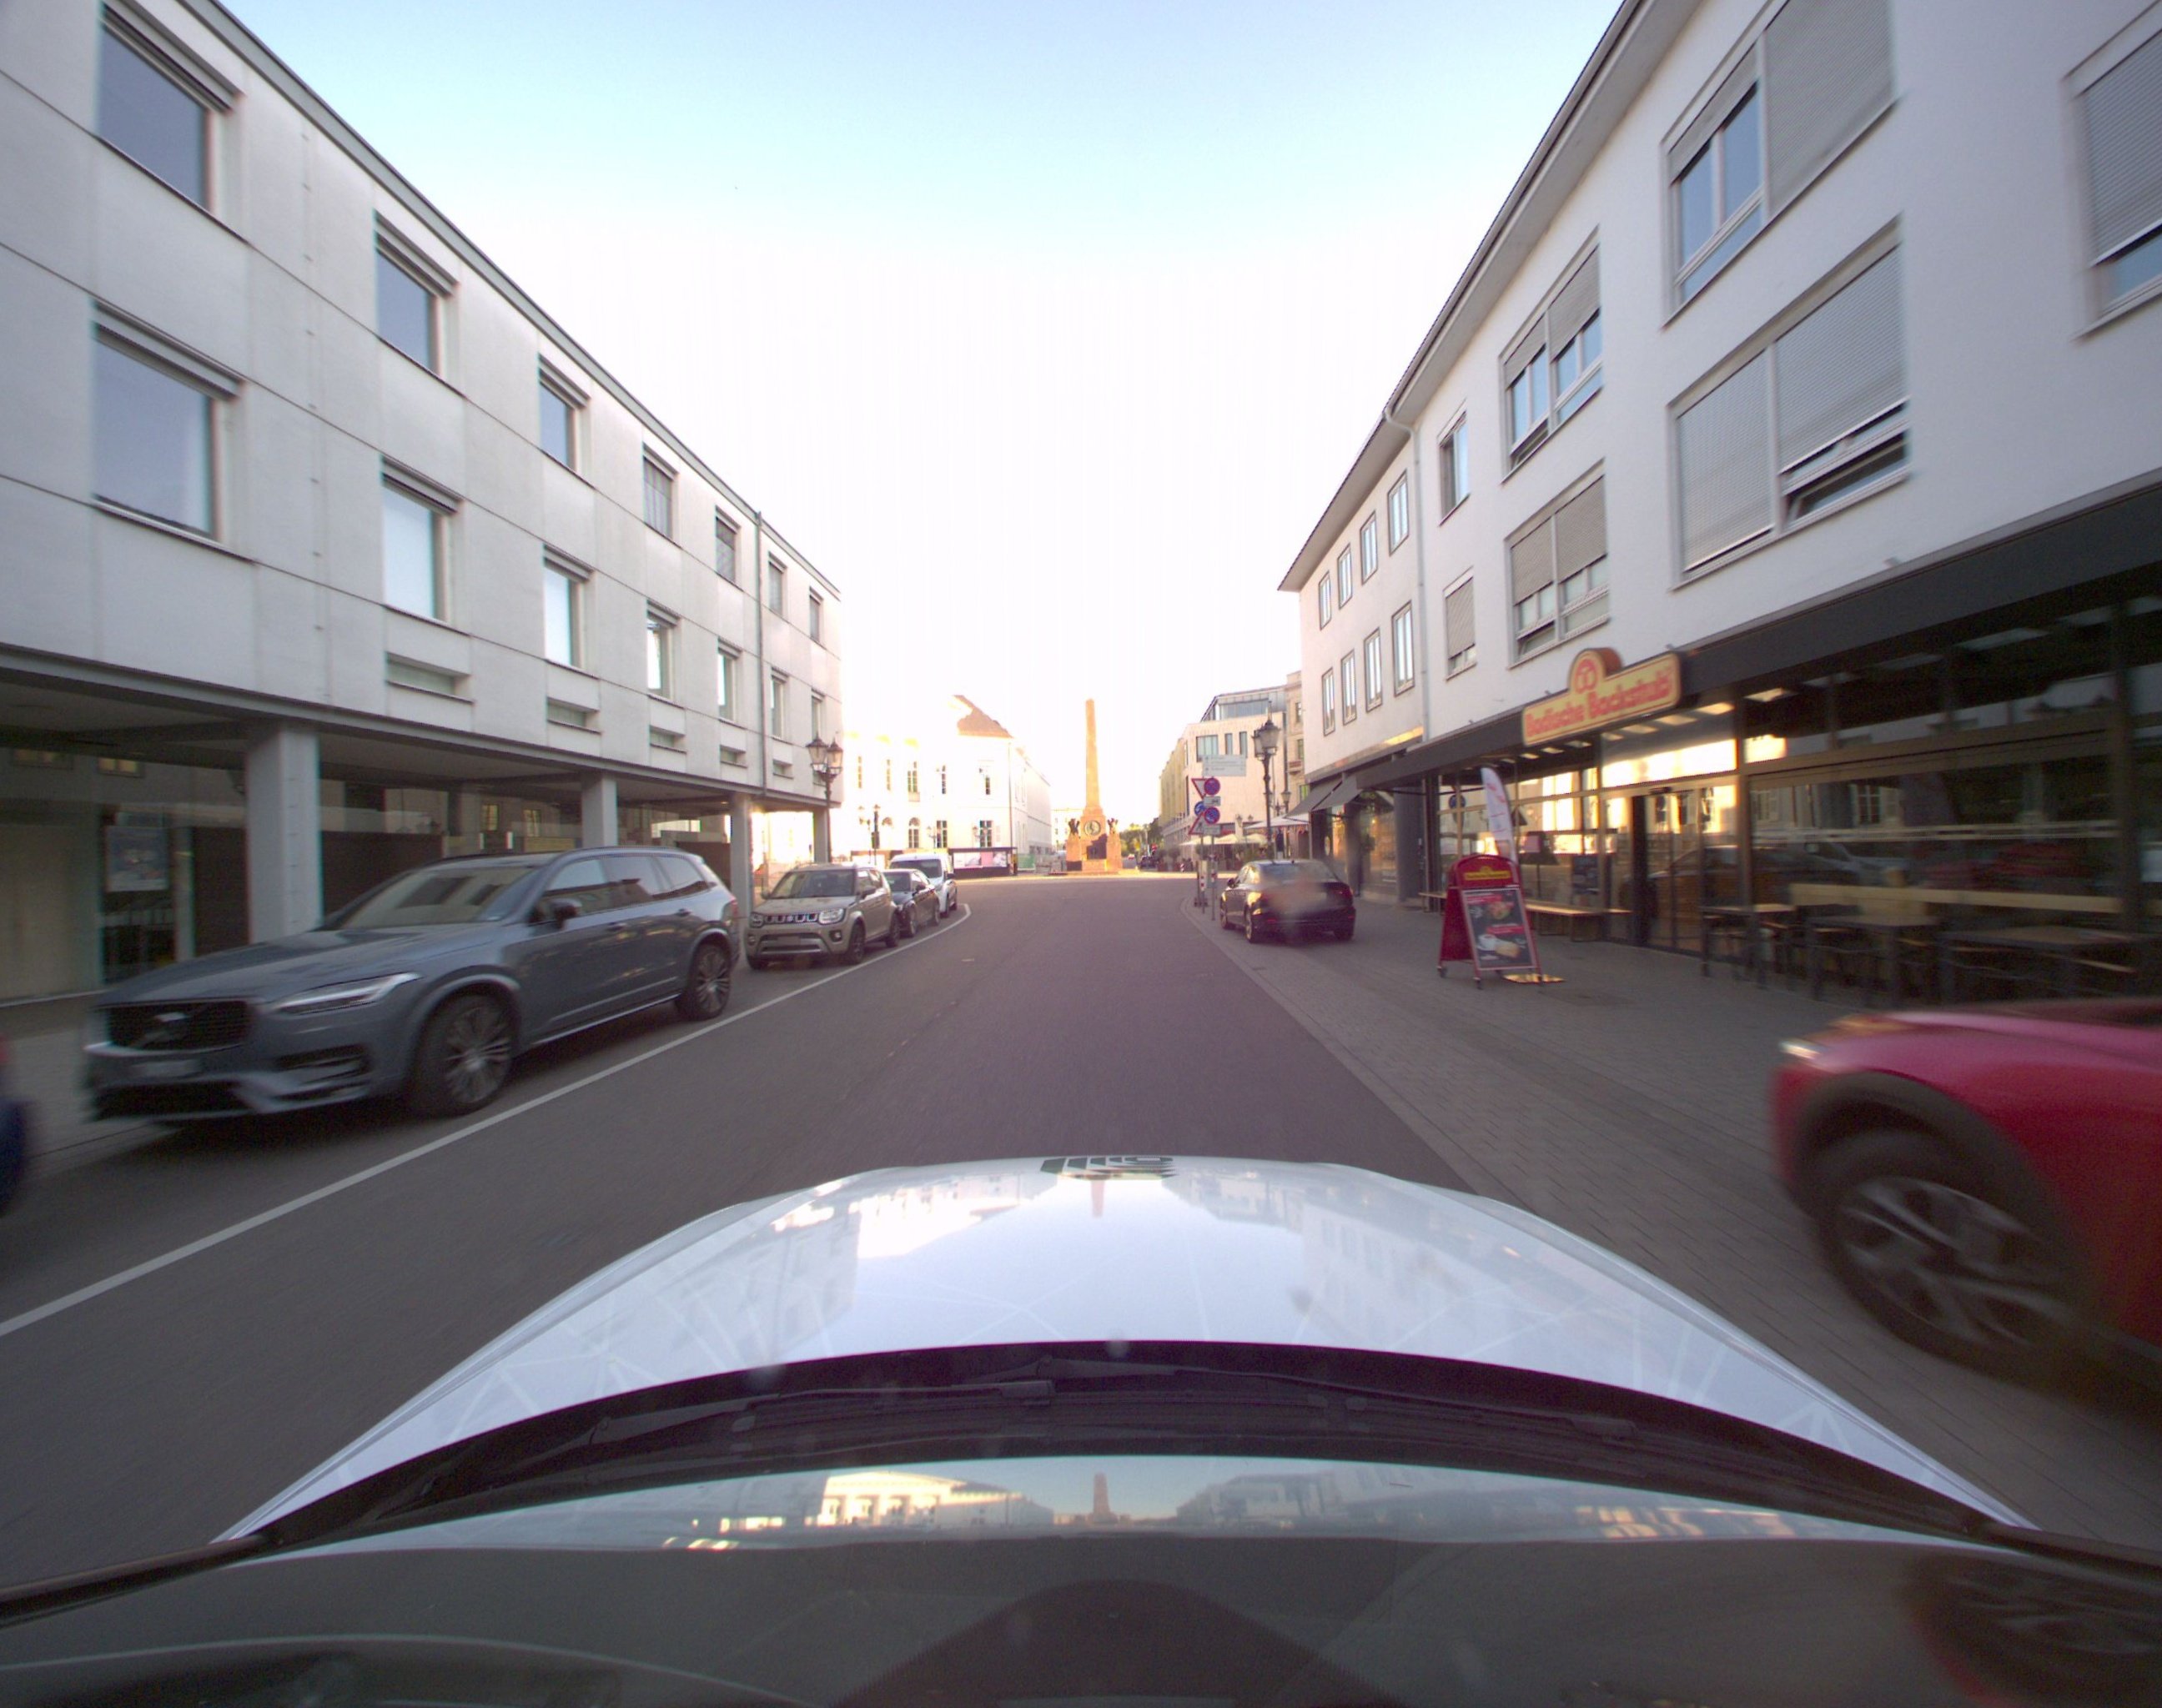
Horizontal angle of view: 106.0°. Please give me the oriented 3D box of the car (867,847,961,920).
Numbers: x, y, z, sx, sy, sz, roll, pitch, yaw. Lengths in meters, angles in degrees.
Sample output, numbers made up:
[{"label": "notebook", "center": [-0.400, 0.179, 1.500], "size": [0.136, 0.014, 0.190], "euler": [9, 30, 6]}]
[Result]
[{"label": "car", "center": [-4.612, 0.752, 23.200], "size": [1.990, 1.816, 4.777], "euler": [-1, 0, -4]}]

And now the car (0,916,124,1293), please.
[{"label": "car", "center": [-5.024, 1.002, 1.501], "size": [1.667, 1.400, 4.002], "euler": [-2, 0, 2]}]

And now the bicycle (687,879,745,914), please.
[{"label": "bicycle", "center": [-11.541, 1.330, 25.862], "size": [0.730, 0.983, 2.336], "euler": [-1, 0, 1]}]

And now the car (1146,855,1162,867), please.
[{"label": "car", "center": [9.401, 0.858, 104.829], "size": [1.984, 1.464, 4.005], "euler": [-2, 0, 4]}]

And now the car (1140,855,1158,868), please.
[{"label": "car", "center": [8.034, 0.914, 96.400], "size": [1.984, 1.464, 4.005], "euler": [-2, 0, 4]}]

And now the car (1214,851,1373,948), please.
[{"label": "car", "center": [3.704, 0.731, 14.941], "size": [1.796, 1.464, 4.116], "euler": [-2, 0, 0]}]

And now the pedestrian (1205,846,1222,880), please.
[{"label": "pedestrian", "center": [6.576, 0.461, 40.403], "size": [0.687, 1.647, 0.696], "euler": [-2, 0, 2]}]

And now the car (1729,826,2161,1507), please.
[{"label": "car", "center": [3.241, 0.678, 1.207], "size": [1.752, 1.523, 3.680], "euler": [-2, 0, 3]}]

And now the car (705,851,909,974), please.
[{"label": "car", "center": [-4.349, 0.837, 13.695], "size": [1.987, 1.662, 3.999], "euler": [-3, 0, 0]}]

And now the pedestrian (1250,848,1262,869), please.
[{"label": "pedestrian", "center": [14.390, 0.357, 66.936], "size": [0.899, 1.728, 0.852], "euler": [-2, 0, 11]}]

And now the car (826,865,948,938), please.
[{"label": "car", "center": [-4.188, 0.969, 18.226], "size": [1.672, 1.353, 4.105], "euler": [-1, 0, 0]}]

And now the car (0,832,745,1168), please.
[{"label": "car", "center": [-4.824, 0.793, 6.657], "size": [1.985, 1.728, 4.520], "euler": [-3, 0, 3]}]
